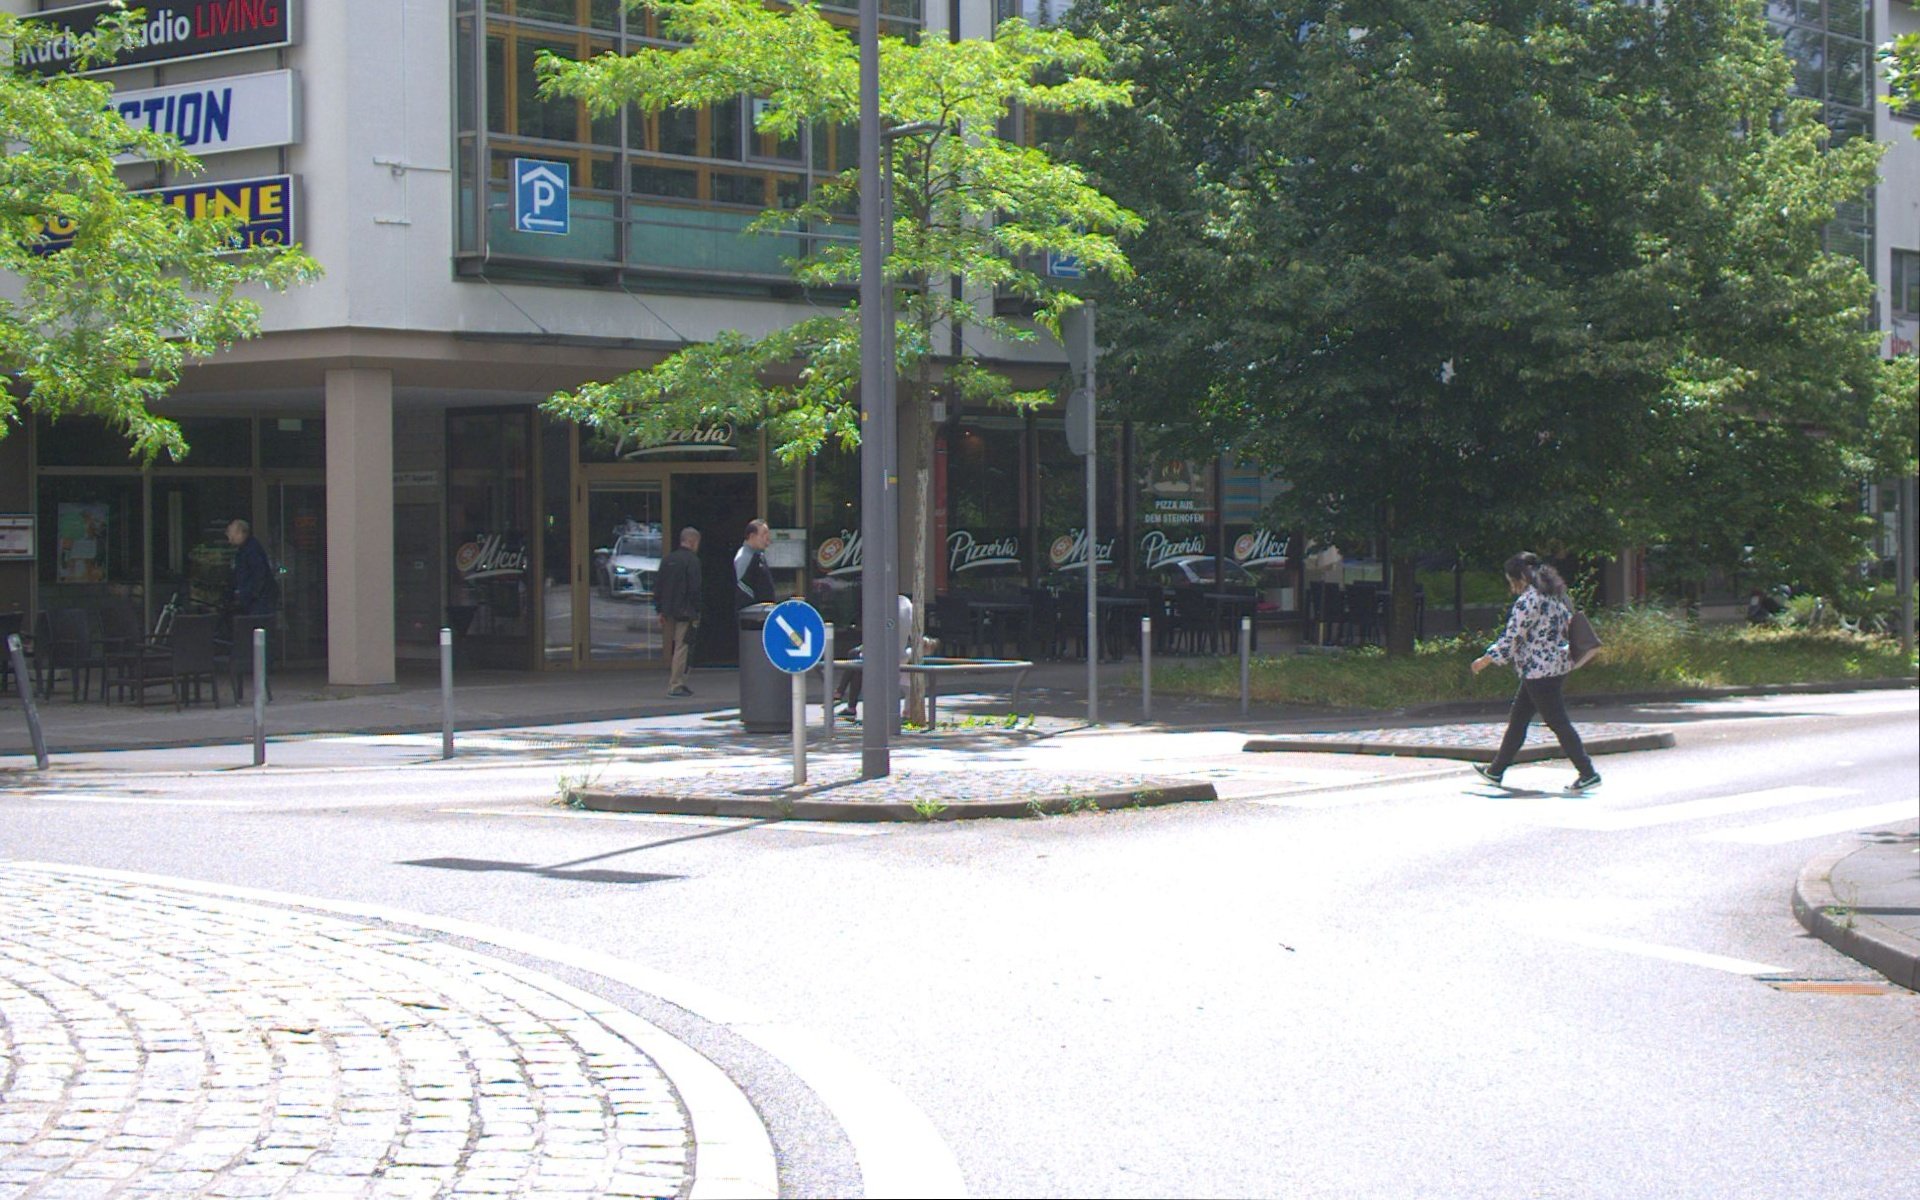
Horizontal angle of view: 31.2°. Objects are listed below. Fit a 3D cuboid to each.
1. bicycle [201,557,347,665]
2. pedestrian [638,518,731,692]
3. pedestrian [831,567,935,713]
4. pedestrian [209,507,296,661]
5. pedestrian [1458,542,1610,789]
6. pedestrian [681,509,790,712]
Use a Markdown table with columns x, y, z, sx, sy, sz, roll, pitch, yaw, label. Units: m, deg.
| x | y | z | sx | sy | sz | roll | pitch | yaw | label |
| --- | --- | --- | --- | --- | --- | --- | --- | --- | --- |
| -7.528 | 0.121 | 37.763 | 1.538 | 1.164 | 0.496 | 1 | 0 | -8 | bicycle |
| -2.688 | 0.043 | 33.583 | 0.616 | 1.669 | 0.697 | 1 | 1 | 25 | pedestrian |
| -0.694 | 0.352 | 30.857 | 0.615 | 1.280 | 0.698 | 0 | 1 | -40 | pedestrian |
| -7.825 | -0.183 | 38.021 | 0.617 | 1.669 | 0.696 | 2 | 1 | 37 | pedestrian |
| 3.674 | 0.409 | 22.052 | 0.763 | 1.548 | 0.779 | 1 | 1 | -5 | pedestrian |
| -2.071 | 0.085 | 31.710 | 0.697 | 1.812 | 0.616 | 2 | 6 | 43 | pedestrian |
